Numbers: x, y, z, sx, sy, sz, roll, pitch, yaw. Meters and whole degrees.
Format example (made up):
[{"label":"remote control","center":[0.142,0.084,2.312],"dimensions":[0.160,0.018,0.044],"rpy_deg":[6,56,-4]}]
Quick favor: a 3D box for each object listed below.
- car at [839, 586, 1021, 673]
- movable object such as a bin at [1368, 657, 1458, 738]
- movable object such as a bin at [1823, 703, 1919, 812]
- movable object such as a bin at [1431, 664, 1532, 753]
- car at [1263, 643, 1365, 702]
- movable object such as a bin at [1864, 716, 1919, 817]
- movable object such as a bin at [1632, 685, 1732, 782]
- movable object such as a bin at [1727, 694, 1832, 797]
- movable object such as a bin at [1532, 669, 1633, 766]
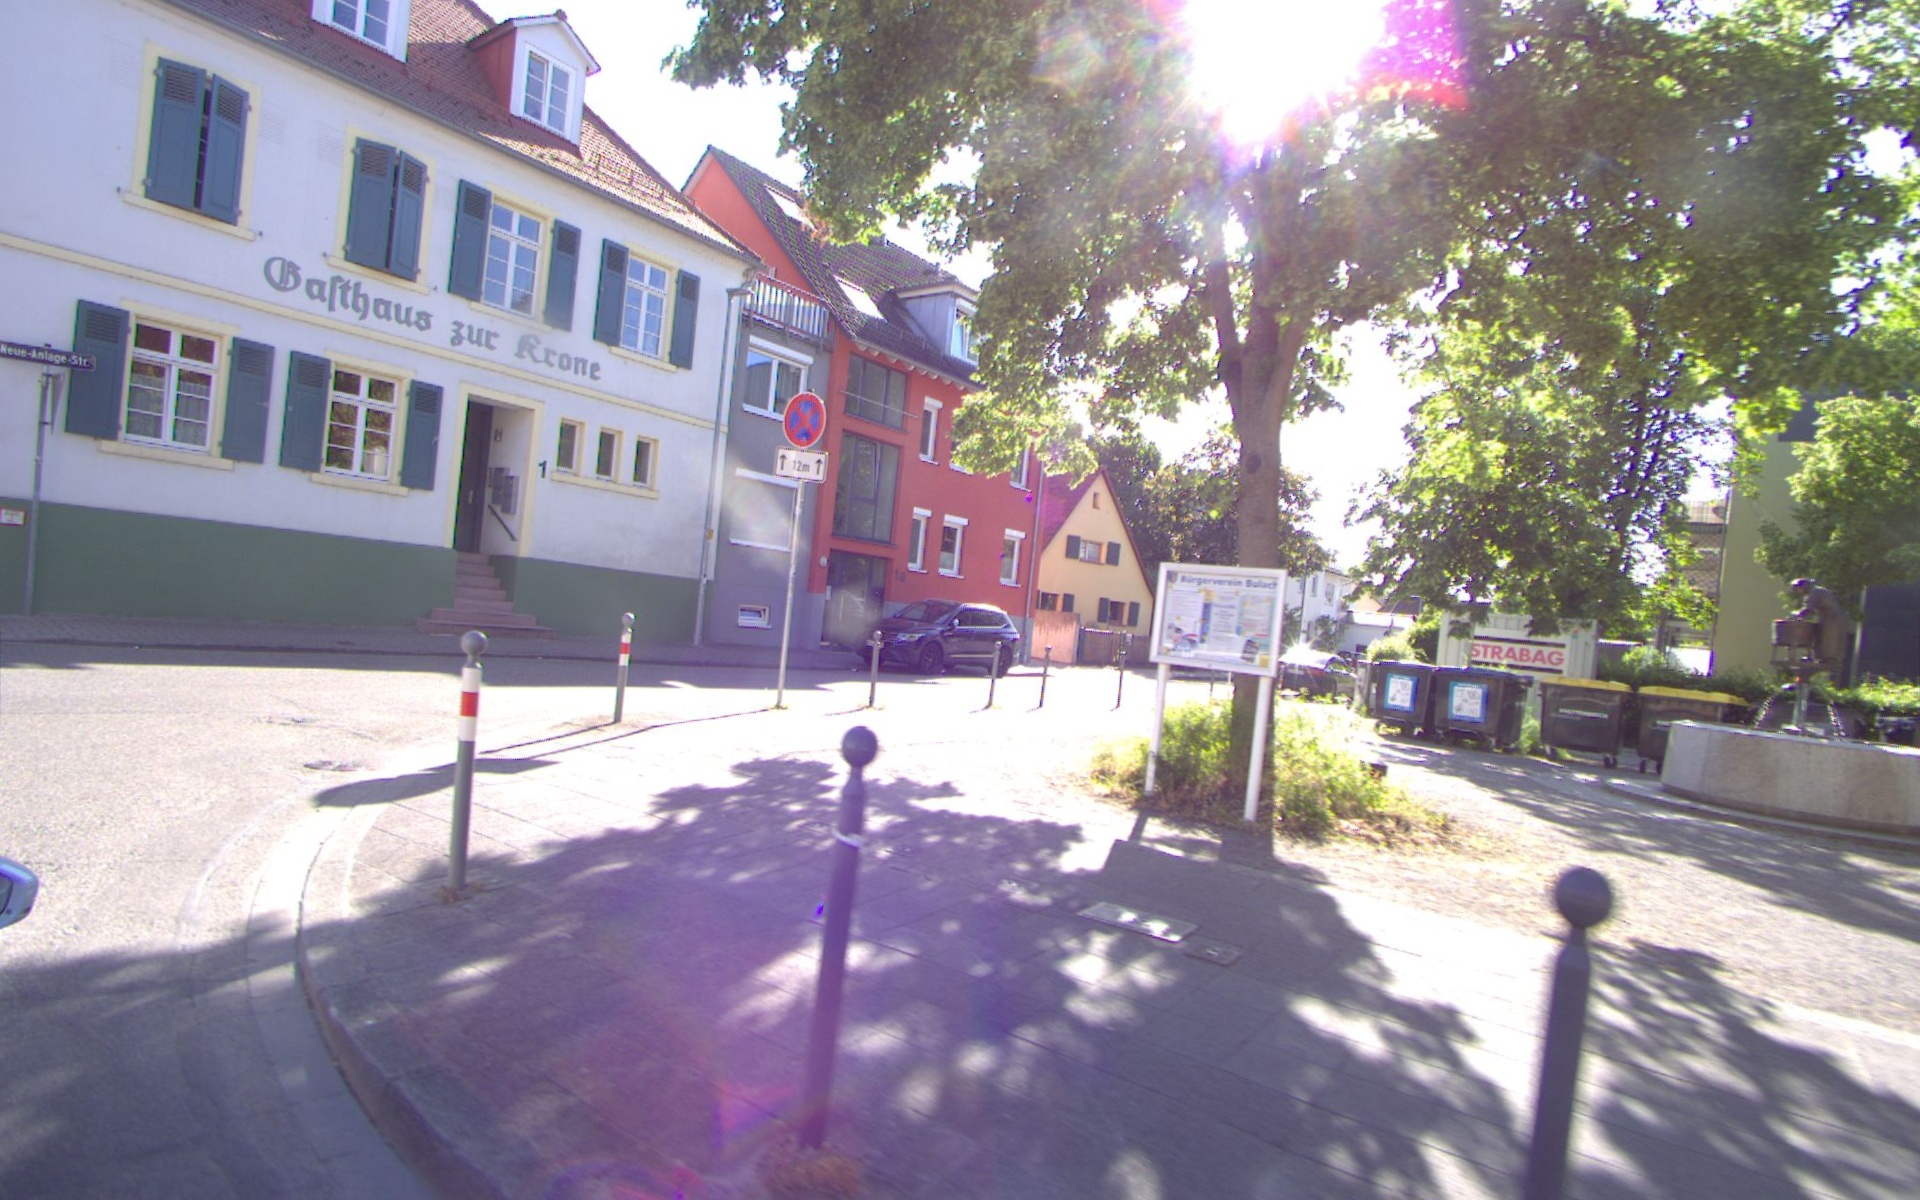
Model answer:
[{"label":"car","center":[-0.581,0.729,23.150],"dimensions":[1.927,1.704,4.261],"rpy_deg":[3,-2,36]},{"label":"movable object such as a bin","center":[7.982,1.707,17.730],"dimensions":[1.091,1.271,0.966],"rpy_deg":[5,0,44]},{"label":"movable object such as a bin","center":[12.398,2.116,13.588],"dimensions":[1.002,1.270,0.967],"rpy_deg":[5,-2,43]},{"label":"movable object such as a bin","center":[8.529,1.767,16.452],"dimensions":[1.133,1.273,0.967],"rpy_deg":[5,-2,44]},{"label":"car","center":[11.049,2.245,31.256],"dimensions":[1.765,1.493,4.121],"rpy_deg":[7,0,36]},{"label":"movable object such as a bin","center":[13.118,2.282,13.458],"dimensions":[1.111,1.270,1.030],"rpy_deg":[6,-2,20]},{"label":"movable object such as a bin","center":[10.825,2.000,15.076],"dimensions":[1.002,1.270,0.967],"rpy_deg":[5,-2,43]},{"label":"movable object such as a bin","center":[11.647,2.060,14.293],"dimensions":[1.002,1.270,0.967],"rpy_deg":[5,-2,43]},{"label":"movable object such as a bin","center":[9.897,1.869,15.986],"dimensions":[1.091,1.356,0.967],"rpy_deg":[5,-2,44]}]
